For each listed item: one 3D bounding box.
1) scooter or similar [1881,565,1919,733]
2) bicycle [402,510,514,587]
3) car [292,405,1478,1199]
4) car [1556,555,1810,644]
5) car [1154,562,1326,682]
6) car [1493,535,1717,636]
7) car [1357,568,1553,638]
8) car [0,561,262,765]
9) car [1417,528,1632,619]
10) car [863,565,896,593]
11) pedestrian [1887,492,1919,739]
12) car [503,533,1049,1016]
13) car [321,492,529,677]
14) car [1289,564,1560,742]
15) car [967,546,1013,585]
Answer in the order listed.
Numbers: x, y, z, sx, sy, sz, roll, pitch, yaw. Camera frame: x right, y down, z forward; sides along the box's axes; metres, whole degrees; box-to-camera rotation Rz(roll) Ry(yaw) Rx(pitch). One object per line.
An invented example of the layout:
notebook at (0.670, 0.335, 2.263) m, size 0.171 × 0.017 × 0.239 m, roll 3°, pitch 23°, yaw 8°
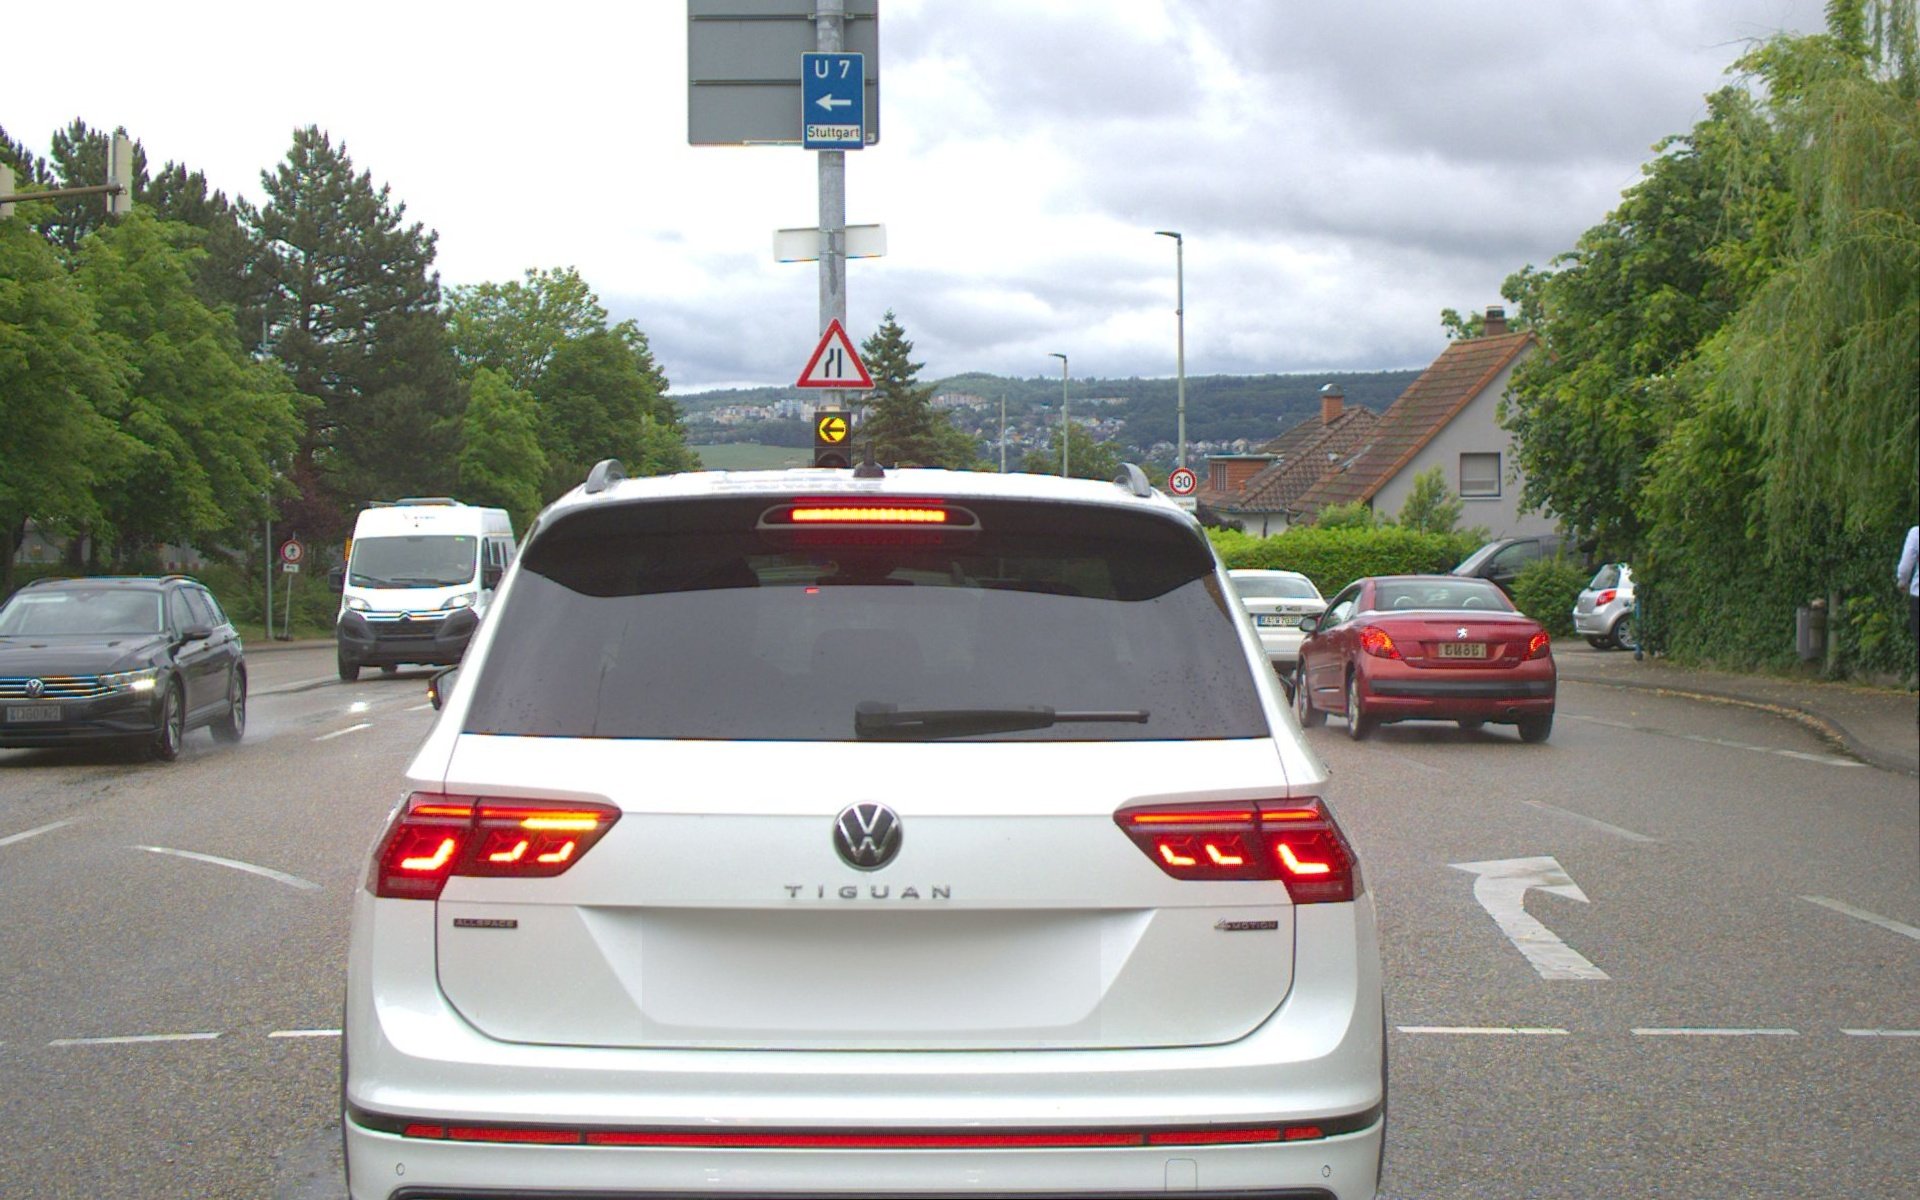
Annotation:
scooter or similar at (8.006, 0.395, 28.159) m, size 0.461 × 1.356 × 1.385 m, roll 0°, pitch 1°, yaw -4°
bicycle at (-7.776, -0.800, 53.278) m, size 1.636 × 1.122 × 0.468 m, roll -2°, pitch 2°, yaw -2°
car at (-0.173, 0.542, 7.360) m, size 1.763 × 1.690 × 4.273 m, roll 2°, pitch 1°, yaw -1°
car at (11.859, -0.007, 56.505) m, size 3.713 × 1.390 × 1.729 m, roll -1°, pitch 0°, yaw -7°
car at (3.587, 0.250, 44.695) m, size 1.664 × 1.422 × 4.306 m, roll 1°, pitch 1°, yaw -2°
car at (11.559, -0.277, 61.727) m, size 3.627 × 1.740 × 1.708 m, roll 0°, pitch 2°, yaw -4°
car at (9.960, 0.071, 69.331) m, size 3.687 × 1.365 × 1.519 m, roll 1°, pitch -1°, yaw -2°
car at (-7.047, 0.459, 28.290) m, size 1.775 × 1.497 × 4.472 m, roll -1°, pitch 1°, yaw -2°
car at (10.531, -0.506, 64.283) m, size 3.627 × 1.620 × 1.792 m, roll 0°, pitch 3°, yaw -4°
car at (-4.687, -1.262, 200.755) m, size 1.850 × 1.569 × 4.000 m, roll -1°, pitch 1°, yaw 0°
pedestrian at (8.026, 0.119, 28.116) m, size 0.655 × 1.995 × 0.718 m, roll 0°, pitch 1°, yaw -5°
car at (-0.618, 0.549, 13.371) m, size 1.798 × 1.584 × 3.926 m, roll 1°, pitch 1°, yaw 0°
car at (-7.725, -0.274, 50.166) m, size 2.297 × 2.519 × 5.774 m, roll -1°, pitch 1°, yaw -2°
car at (3.971, 0.415, 29.939) m, size 1.625 × 1.398 × 3.690 m, roll 1°, pitch 1°, yaw -3°
car at (1.268, -1.470, 145.306) m, size 1.850 × 1.569 × 4.000 m, roll -1°, pitch 1°, yaw 0°
